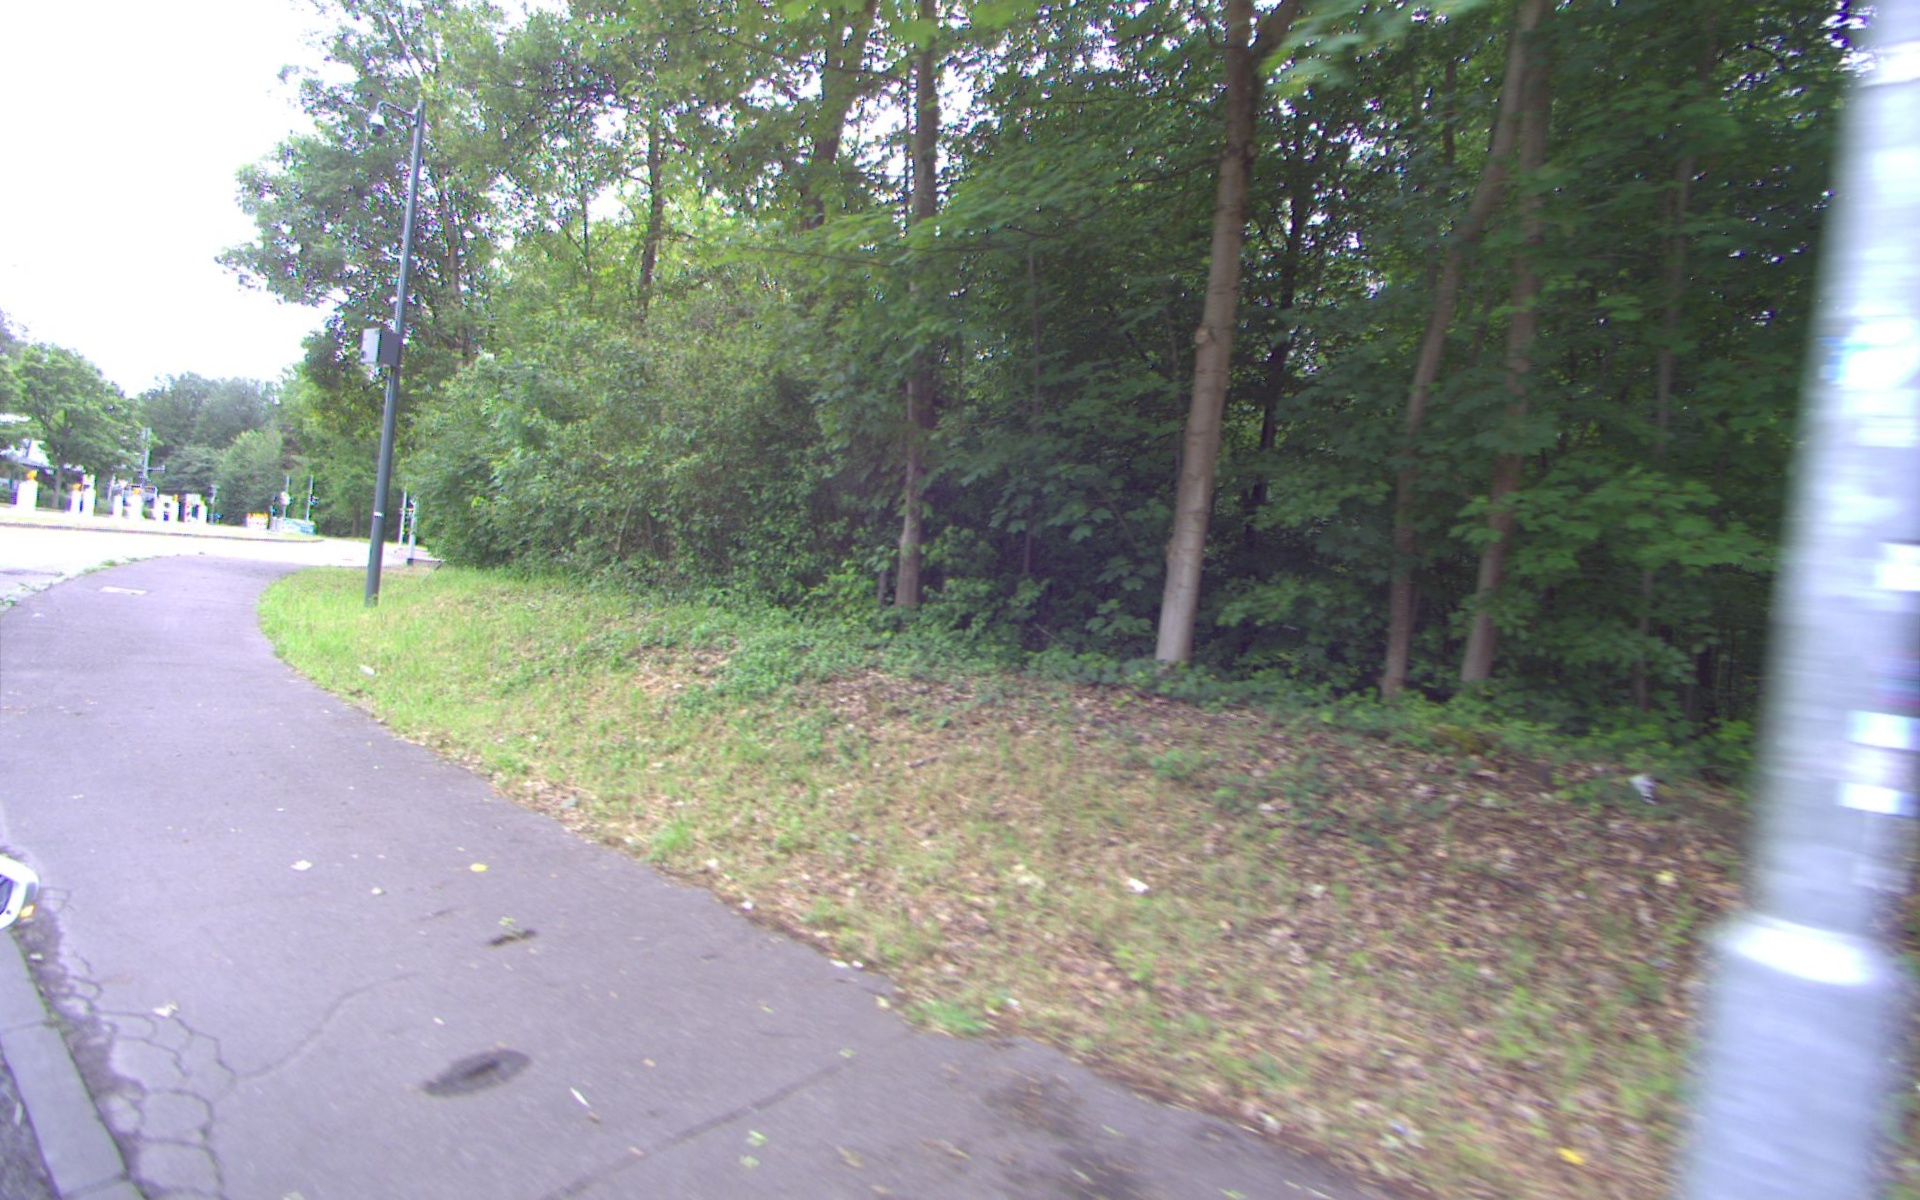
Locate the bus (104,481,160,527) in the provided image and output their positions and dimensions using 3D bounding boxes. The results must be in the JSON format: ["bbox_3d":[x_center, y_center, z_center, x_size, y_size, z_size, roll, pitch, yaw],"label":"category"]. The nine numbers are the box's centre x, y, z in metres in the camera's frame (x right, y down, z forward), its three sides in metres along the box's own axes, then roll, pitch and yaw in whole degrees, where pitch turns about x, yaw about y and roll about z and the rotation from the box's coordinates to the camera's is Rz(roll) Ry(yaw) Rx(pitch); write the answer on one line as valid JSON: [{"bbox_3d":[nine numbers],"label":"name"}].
[{"bbox_3d":[-76.139,-8.894,92.369,2.813,3.648,12.643,6,1,-44],"label":"bus"}]

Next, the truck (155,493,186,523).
[{"bbox_3d":[-99.450,-11.587,126.666,2.473,3.328,8.421,5,1,-41],"label":"truck"}]
